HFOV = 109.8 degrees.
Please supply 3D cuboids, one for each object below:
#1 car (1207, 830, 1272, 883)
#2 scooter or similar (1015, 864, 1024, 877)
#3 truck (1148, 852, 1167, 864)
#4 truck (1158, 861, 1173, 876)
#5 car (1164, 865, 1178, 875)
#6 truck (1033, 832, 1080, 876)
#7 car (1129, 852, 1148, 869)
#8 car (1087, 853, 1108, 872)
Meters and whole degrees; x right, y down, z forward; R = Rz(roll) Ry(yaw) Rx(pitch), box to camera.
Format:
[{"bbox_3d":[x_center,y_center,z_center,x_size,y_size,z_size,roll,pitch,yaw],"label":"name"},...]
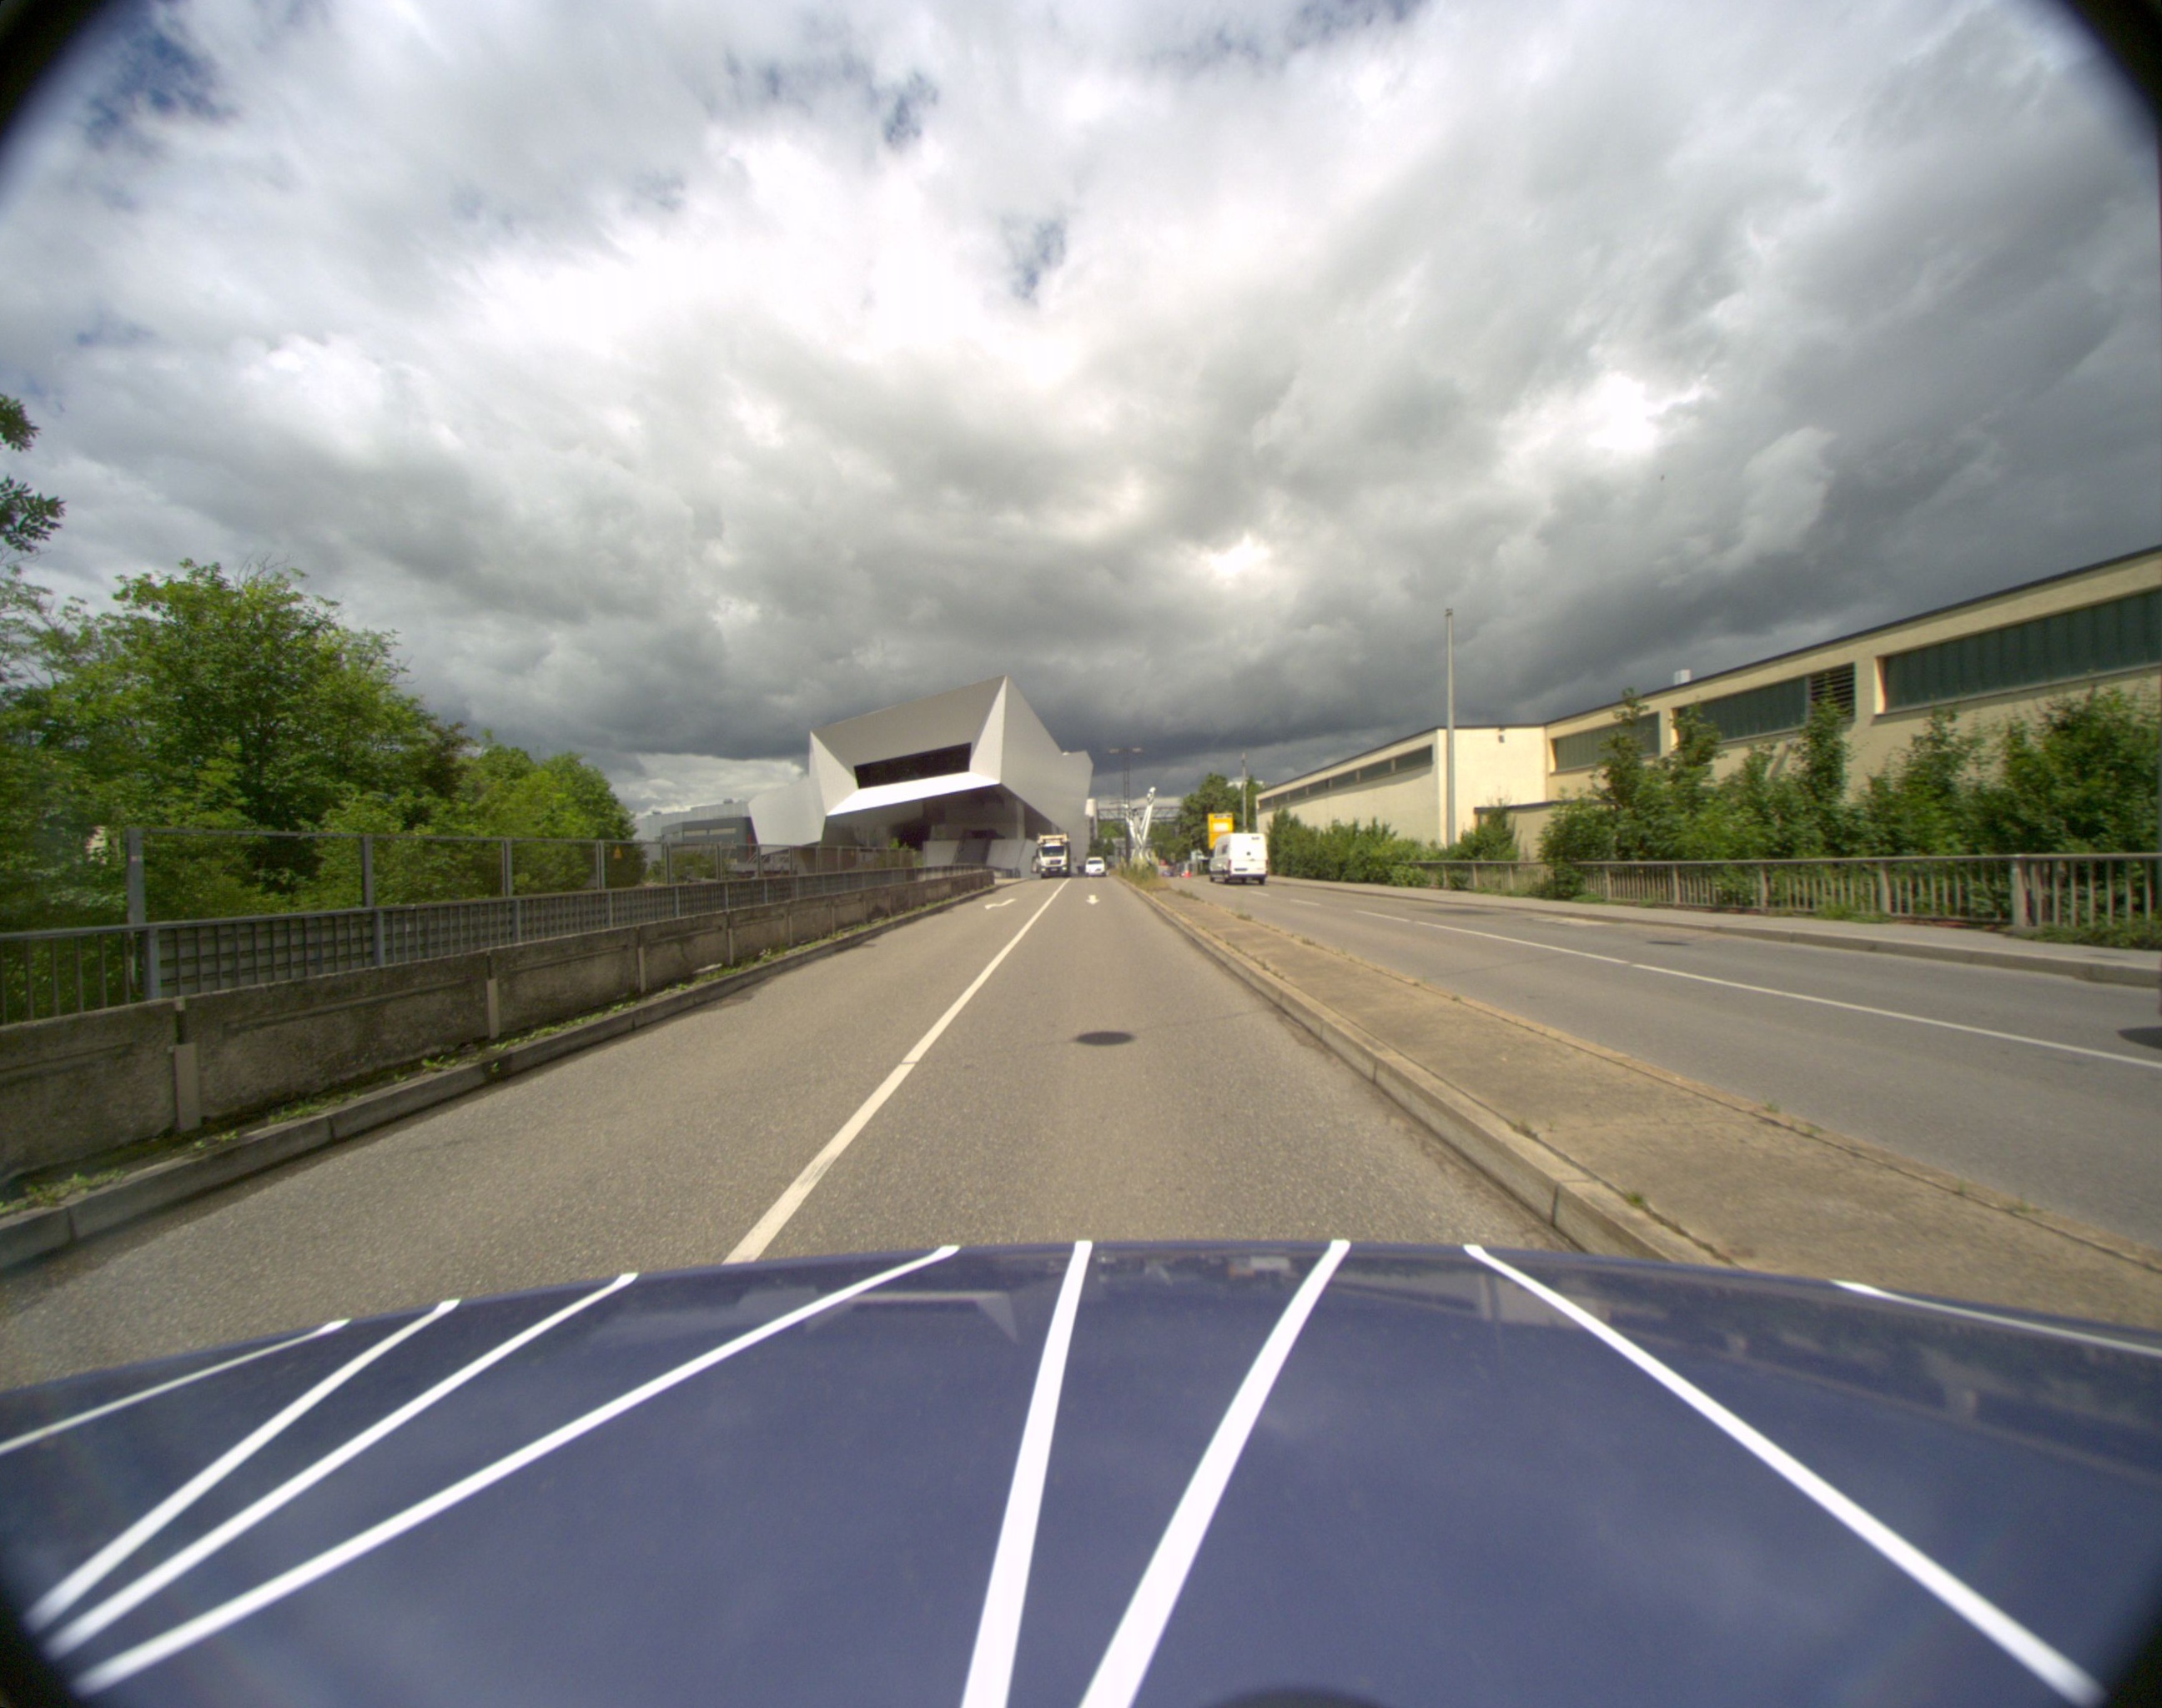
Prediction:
[{"bbox_3d":[8.194,0.104,40.001,2.072,2.556,6.821,0,0,1],"label":"car"},{"bbox_3d":[-6.037,1.630,74.296,0.655,1.206,1.858,-1,-1,1],"label":"scooter or similar"},{"bbox_3d":[26.497,1.479,263.488,2.364,3.545,8.975,-2,-2,-24],"label":"truck"},{"bbox_3d":[19.631,3.373,175.385,2.861,2.839,9.389,-2,-4,9],"label":"truck"},{"bbox_3d":[12.485,2.218,105.178,1.758,1.268,4.002,1,0,5],"label":"car"},{"bbox_3d":[-2.080,0.119,69.078,2.842,3.668,10.760,-1,-1,5],"label":"truck"},{"bbox_3d":[6.775,0.742,90.110,1.998,1.877,4.869,-1,-1,1],"label":"car"},{"bbox_3d":[1.678,0.798,75.290,1.986,1.702,4.761,-2,0,1],"label":"car"}]
